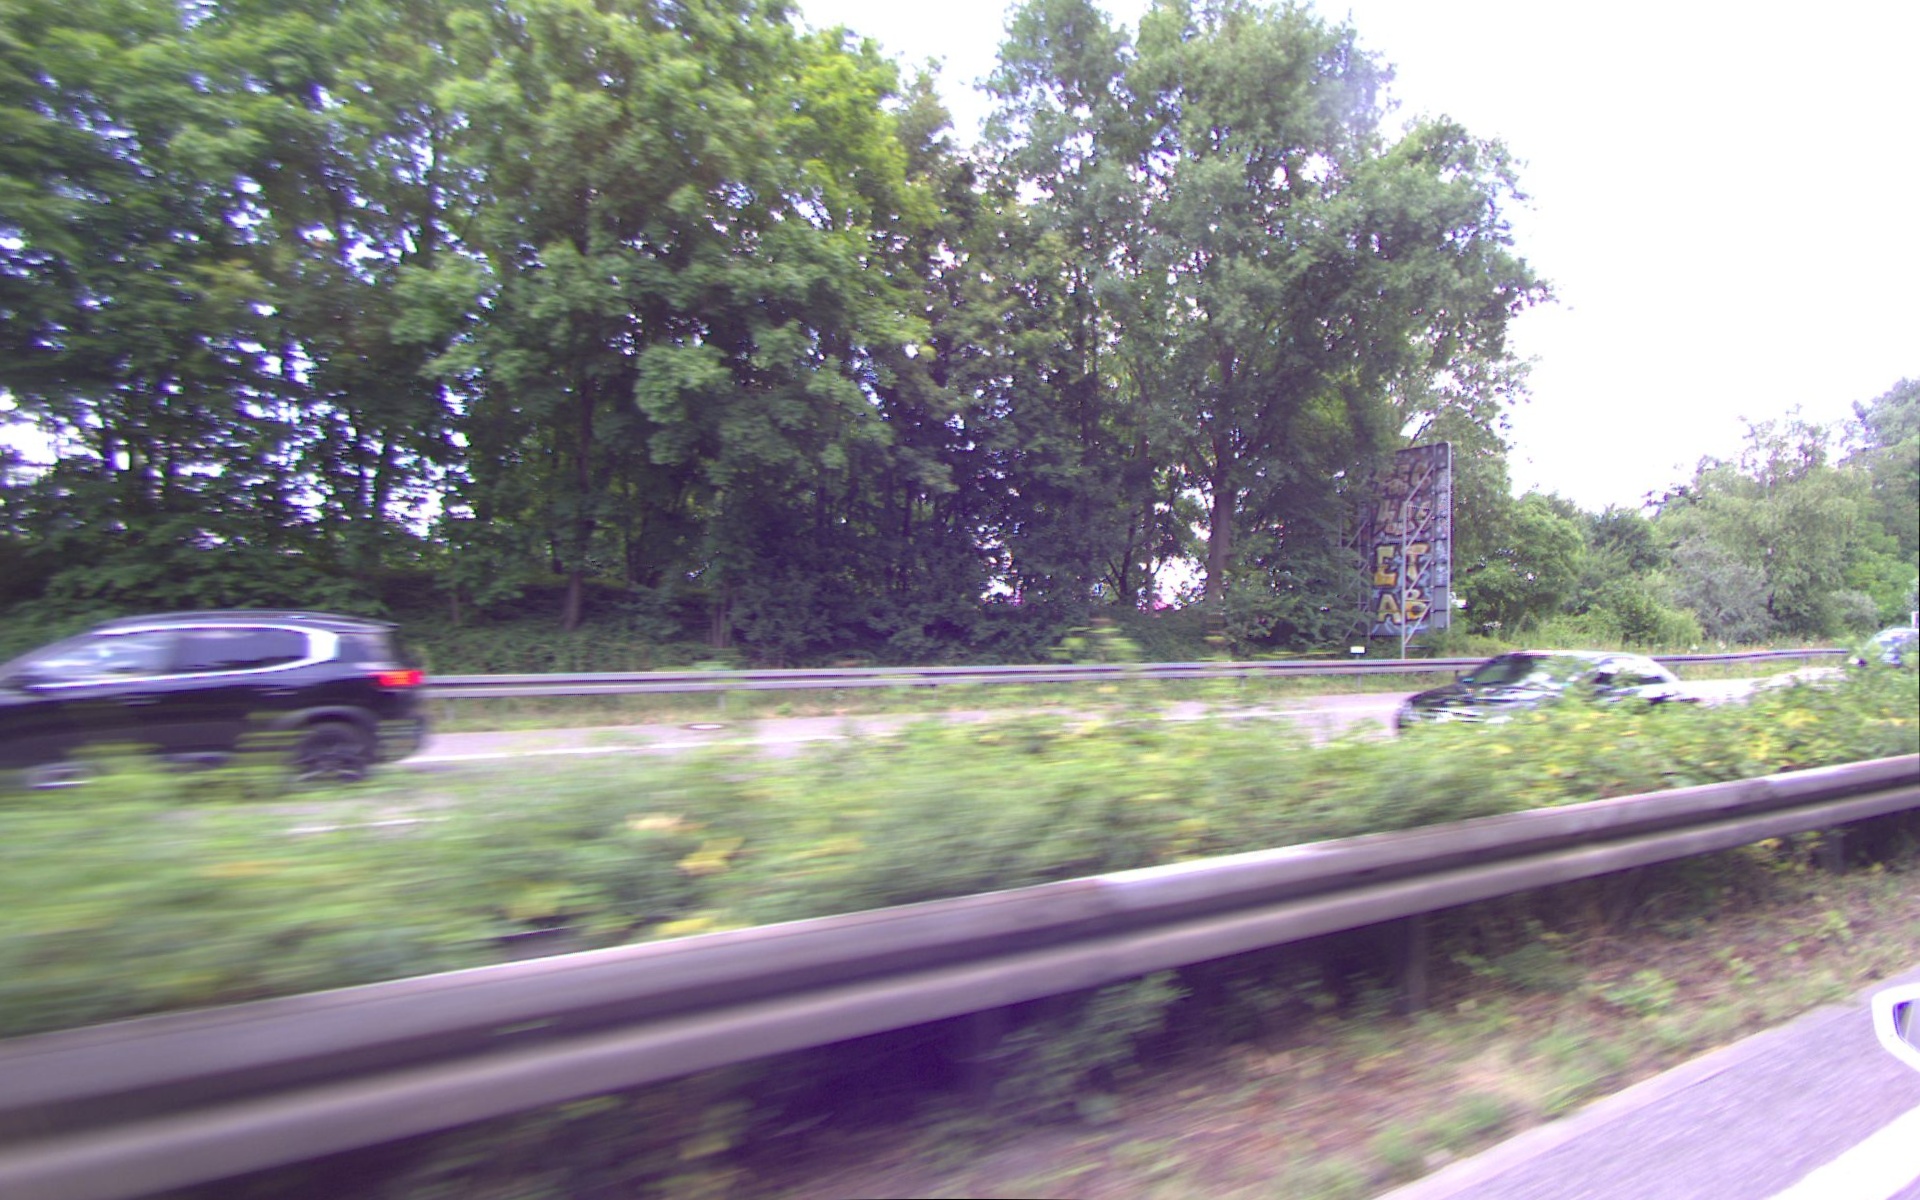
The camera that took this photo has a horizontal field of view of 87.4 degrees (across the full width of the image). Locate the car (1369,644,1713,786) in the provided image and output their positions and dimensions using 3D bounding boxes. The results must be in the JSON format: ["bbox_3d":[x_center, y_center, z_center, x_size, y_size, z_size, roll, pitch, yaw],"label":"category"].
[{"bbox_3d":[7.555,1.348,12.941,4.662,1.451,1.775,1,0,-30],"label":"car"}]

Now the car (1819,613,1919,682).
[{"bbox_3d":[27.366,1.367,29.504,4.227,1.894,1.984,1,-1,-30],"label":"car"}]

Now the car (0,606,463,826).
[{"bbox_3d":[-7.105,0.929,9.107,4.541,1.683,1.819,1,0,-30],"label":"car"}]
